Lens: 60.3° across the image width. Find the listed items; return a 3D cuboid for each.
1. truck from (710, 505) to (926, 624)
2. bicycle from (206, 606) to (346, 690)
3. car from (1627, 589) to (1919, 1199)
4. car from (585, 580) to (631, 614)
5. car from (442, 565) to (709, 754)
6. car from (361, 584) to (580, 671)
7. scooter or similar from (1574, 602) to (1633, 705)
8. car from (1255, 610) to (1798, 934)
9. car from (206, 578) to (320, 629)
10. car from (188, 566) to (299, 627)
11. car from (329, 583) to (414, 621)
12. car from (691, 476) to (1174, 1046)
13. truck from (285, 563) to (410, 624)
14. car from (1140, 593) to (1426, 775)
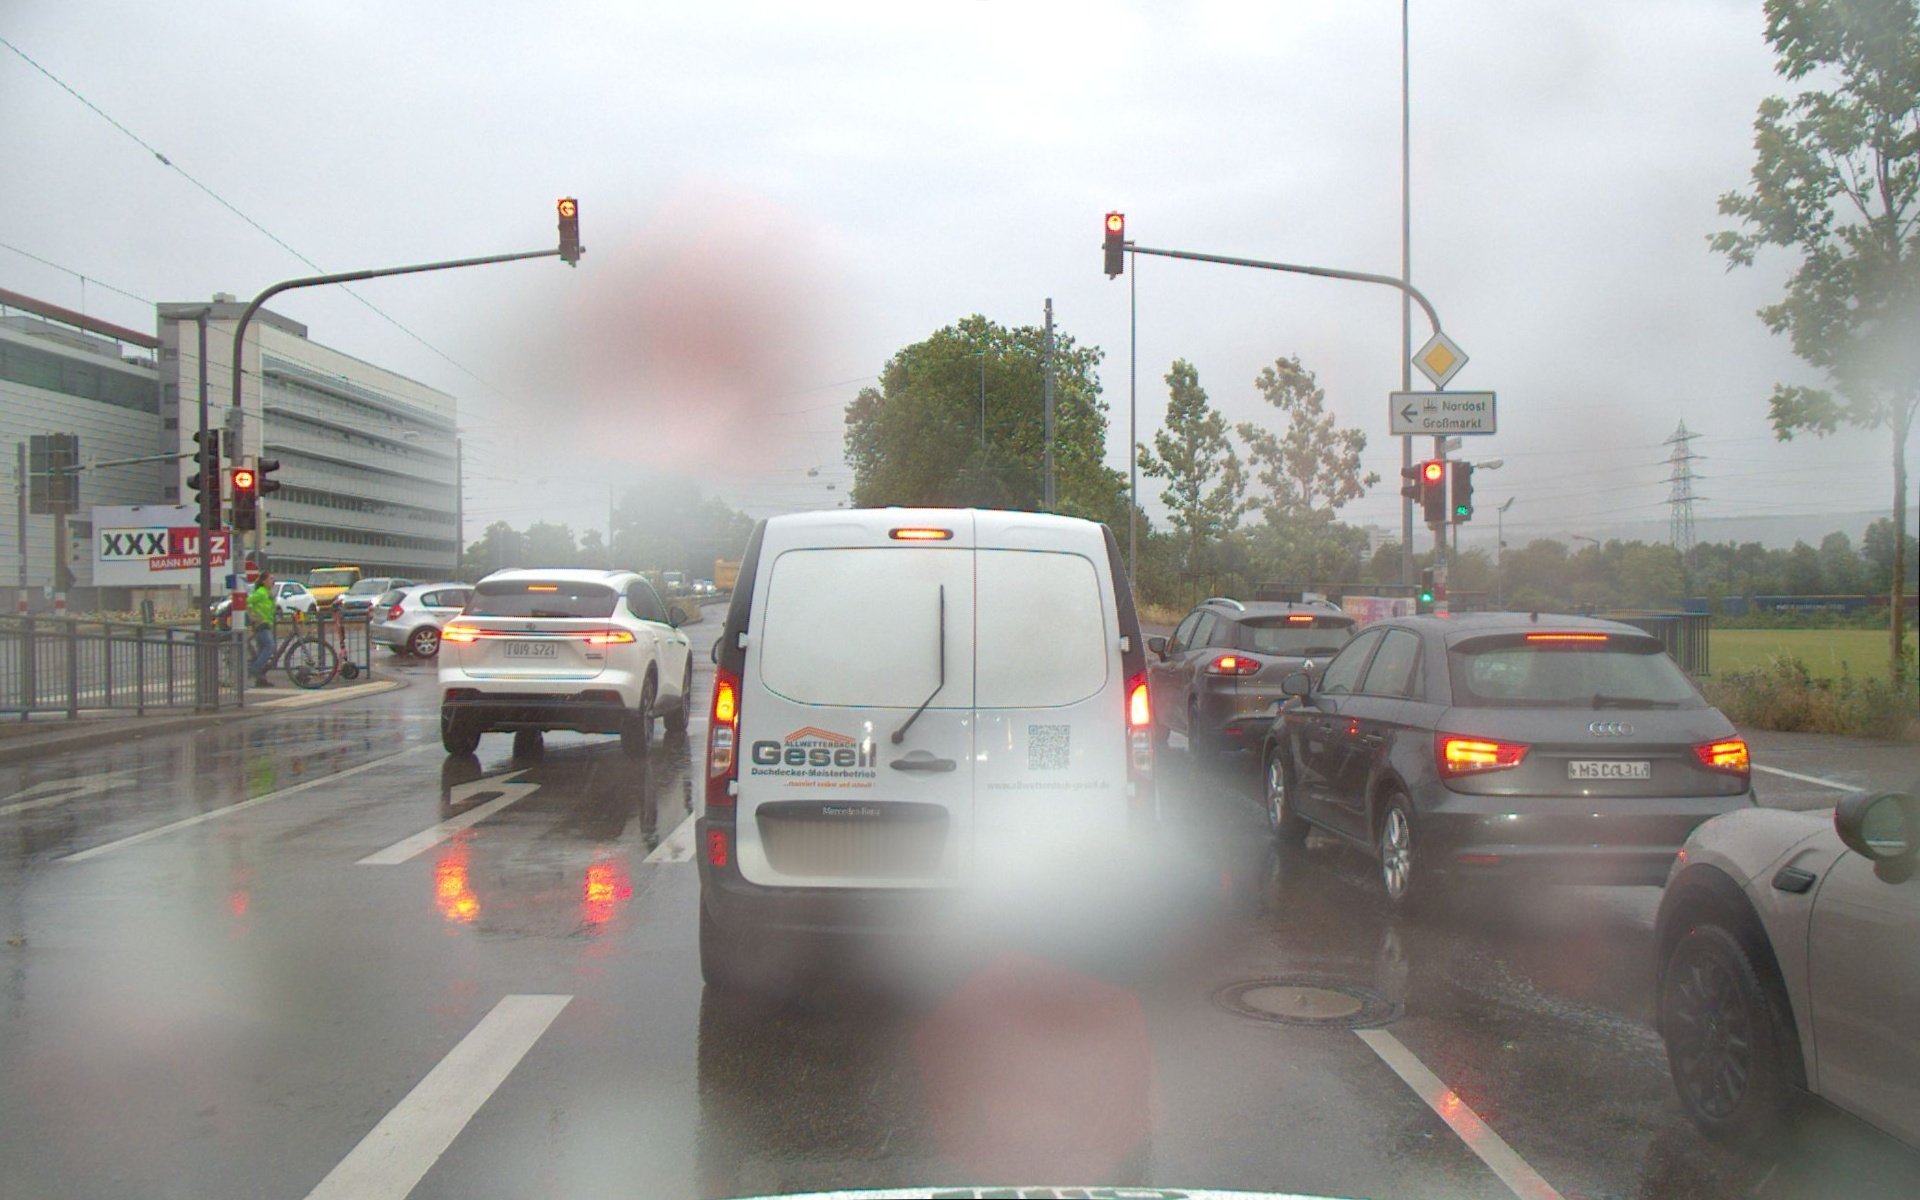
[{"bbox_3d":[-3.545,-0.844,43.524,2.579,2.865,7.142,1,0,23],"label":"truck"},{"bbox_3d":[-9.636,0.672,23.316,1.716,1.052,0.414,4,-1,-3],"label":"bicycle"},{"bbox_3d":[2.932,0.758,3.248,1.679,1.534,3.622,1,0,-2],"label":"car"},{"bbox_3d":[-22.009,-0.170,103.542,1.952,2.049,4.000,1,0,1],"label":"car"},{"bbox_3d":[-3.569,0.477,16.088,1.694,1.562,4.296,1,1,-2],"label":"car"},{"bbox_3d":[-10.042,0.571,34.036,4.032,1.689,1.600,1,0,-35],"label":"car"},{"bbox_3d":[7.602,0.620,19.562,0.240,1.178,1.186,1,0,1],"label":"scooter or similar"},{"bbox_3d":[2.777,0.757,8.959,1.596,1.368,3.622,1,0,-2],"label":"car"},{"bbox_3d":[-21.898,0.130,52.120,1.662,1.518,3.878,1,0,5],"label":"car"},{"bbox_3d":[-25.343,-0.108,58.659,1.952,2.049,4.002,1,0,3],"label":"car"},{"bbox_3d":[-21.832,0.098,61.535,1.554,1.359,3.832,1,-1,4],"label":"car"},{"bbox_3d":[-0.112,0.521,7.302,1.534,1.819,3.999,0,0,-1],"label":"car"},{"bbox_3d":[-25.180,-0.244,68.340,2.303,2.319,7.632,1,0,0],"label":"truck"},{"bbox_3d":[2.877,0.688,15.574,1.822,1.453,3.806,1,1,-2],"label":"car"}]
